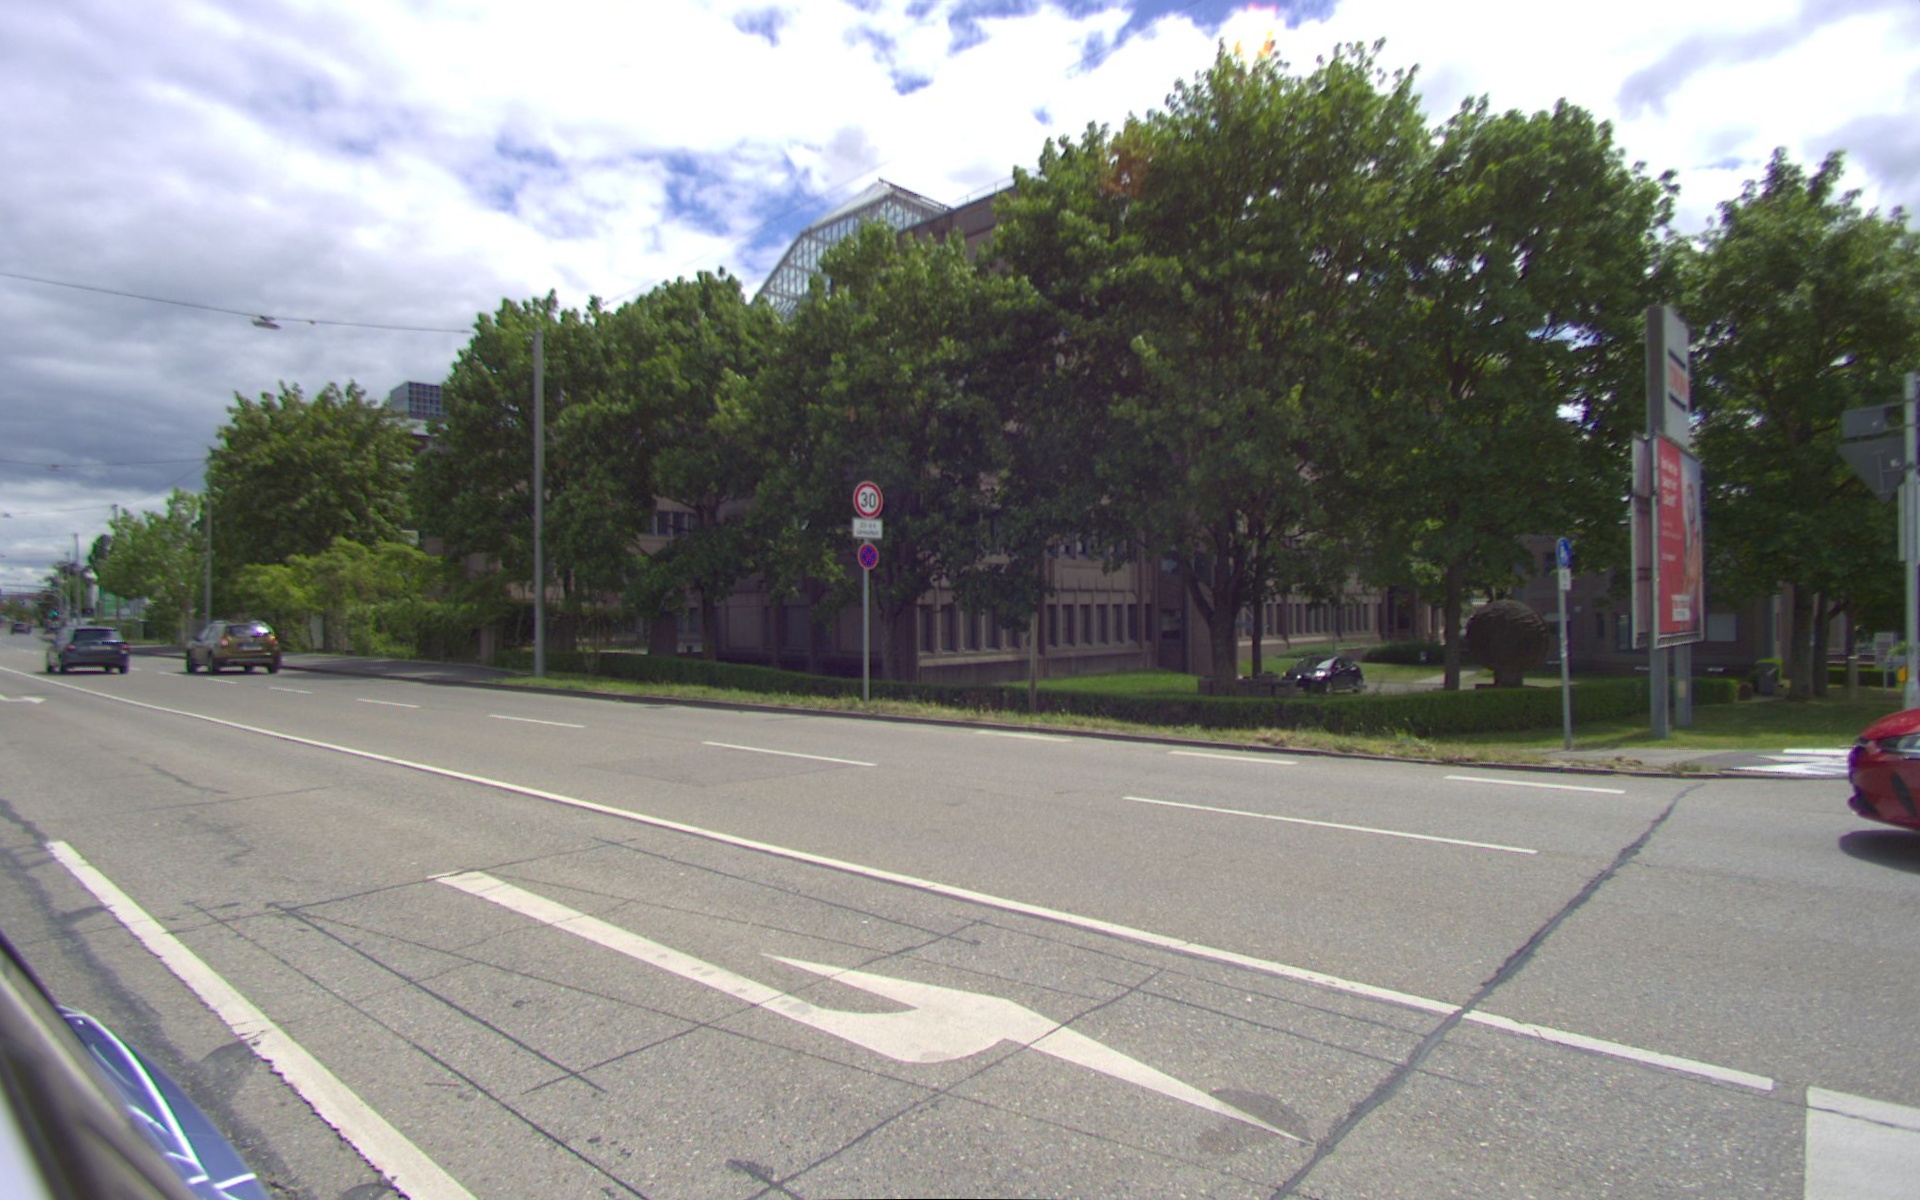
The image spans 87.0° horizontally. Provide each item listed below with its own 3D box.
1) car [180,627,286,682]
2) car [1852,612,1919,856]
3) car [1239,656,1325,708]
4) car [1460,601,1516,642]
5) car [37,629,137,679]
[{"bbox_3d":[-23.015,1.666,31.985,3.998,1.609,1.873,-1,-2,42],"label":"car"},{"bbox_3d":[7.514,0.776,5.462,3.998,1.426,1.761,-1,-2,41],"label":"car"},{"bbox_3d":[9.302,2.300,29.078,1.531,1.214,3.138,-1,0,34],"label":"car"},{"bbox_3d":[30.795,1.200,58.955,1.999,2.259,3.945,-1,0,41],"label":"car"},{"bbox_3d":[-27.195,1.638,31.488,3.998,1.465,1.777,-2,-3,41],"label":"car"}]
